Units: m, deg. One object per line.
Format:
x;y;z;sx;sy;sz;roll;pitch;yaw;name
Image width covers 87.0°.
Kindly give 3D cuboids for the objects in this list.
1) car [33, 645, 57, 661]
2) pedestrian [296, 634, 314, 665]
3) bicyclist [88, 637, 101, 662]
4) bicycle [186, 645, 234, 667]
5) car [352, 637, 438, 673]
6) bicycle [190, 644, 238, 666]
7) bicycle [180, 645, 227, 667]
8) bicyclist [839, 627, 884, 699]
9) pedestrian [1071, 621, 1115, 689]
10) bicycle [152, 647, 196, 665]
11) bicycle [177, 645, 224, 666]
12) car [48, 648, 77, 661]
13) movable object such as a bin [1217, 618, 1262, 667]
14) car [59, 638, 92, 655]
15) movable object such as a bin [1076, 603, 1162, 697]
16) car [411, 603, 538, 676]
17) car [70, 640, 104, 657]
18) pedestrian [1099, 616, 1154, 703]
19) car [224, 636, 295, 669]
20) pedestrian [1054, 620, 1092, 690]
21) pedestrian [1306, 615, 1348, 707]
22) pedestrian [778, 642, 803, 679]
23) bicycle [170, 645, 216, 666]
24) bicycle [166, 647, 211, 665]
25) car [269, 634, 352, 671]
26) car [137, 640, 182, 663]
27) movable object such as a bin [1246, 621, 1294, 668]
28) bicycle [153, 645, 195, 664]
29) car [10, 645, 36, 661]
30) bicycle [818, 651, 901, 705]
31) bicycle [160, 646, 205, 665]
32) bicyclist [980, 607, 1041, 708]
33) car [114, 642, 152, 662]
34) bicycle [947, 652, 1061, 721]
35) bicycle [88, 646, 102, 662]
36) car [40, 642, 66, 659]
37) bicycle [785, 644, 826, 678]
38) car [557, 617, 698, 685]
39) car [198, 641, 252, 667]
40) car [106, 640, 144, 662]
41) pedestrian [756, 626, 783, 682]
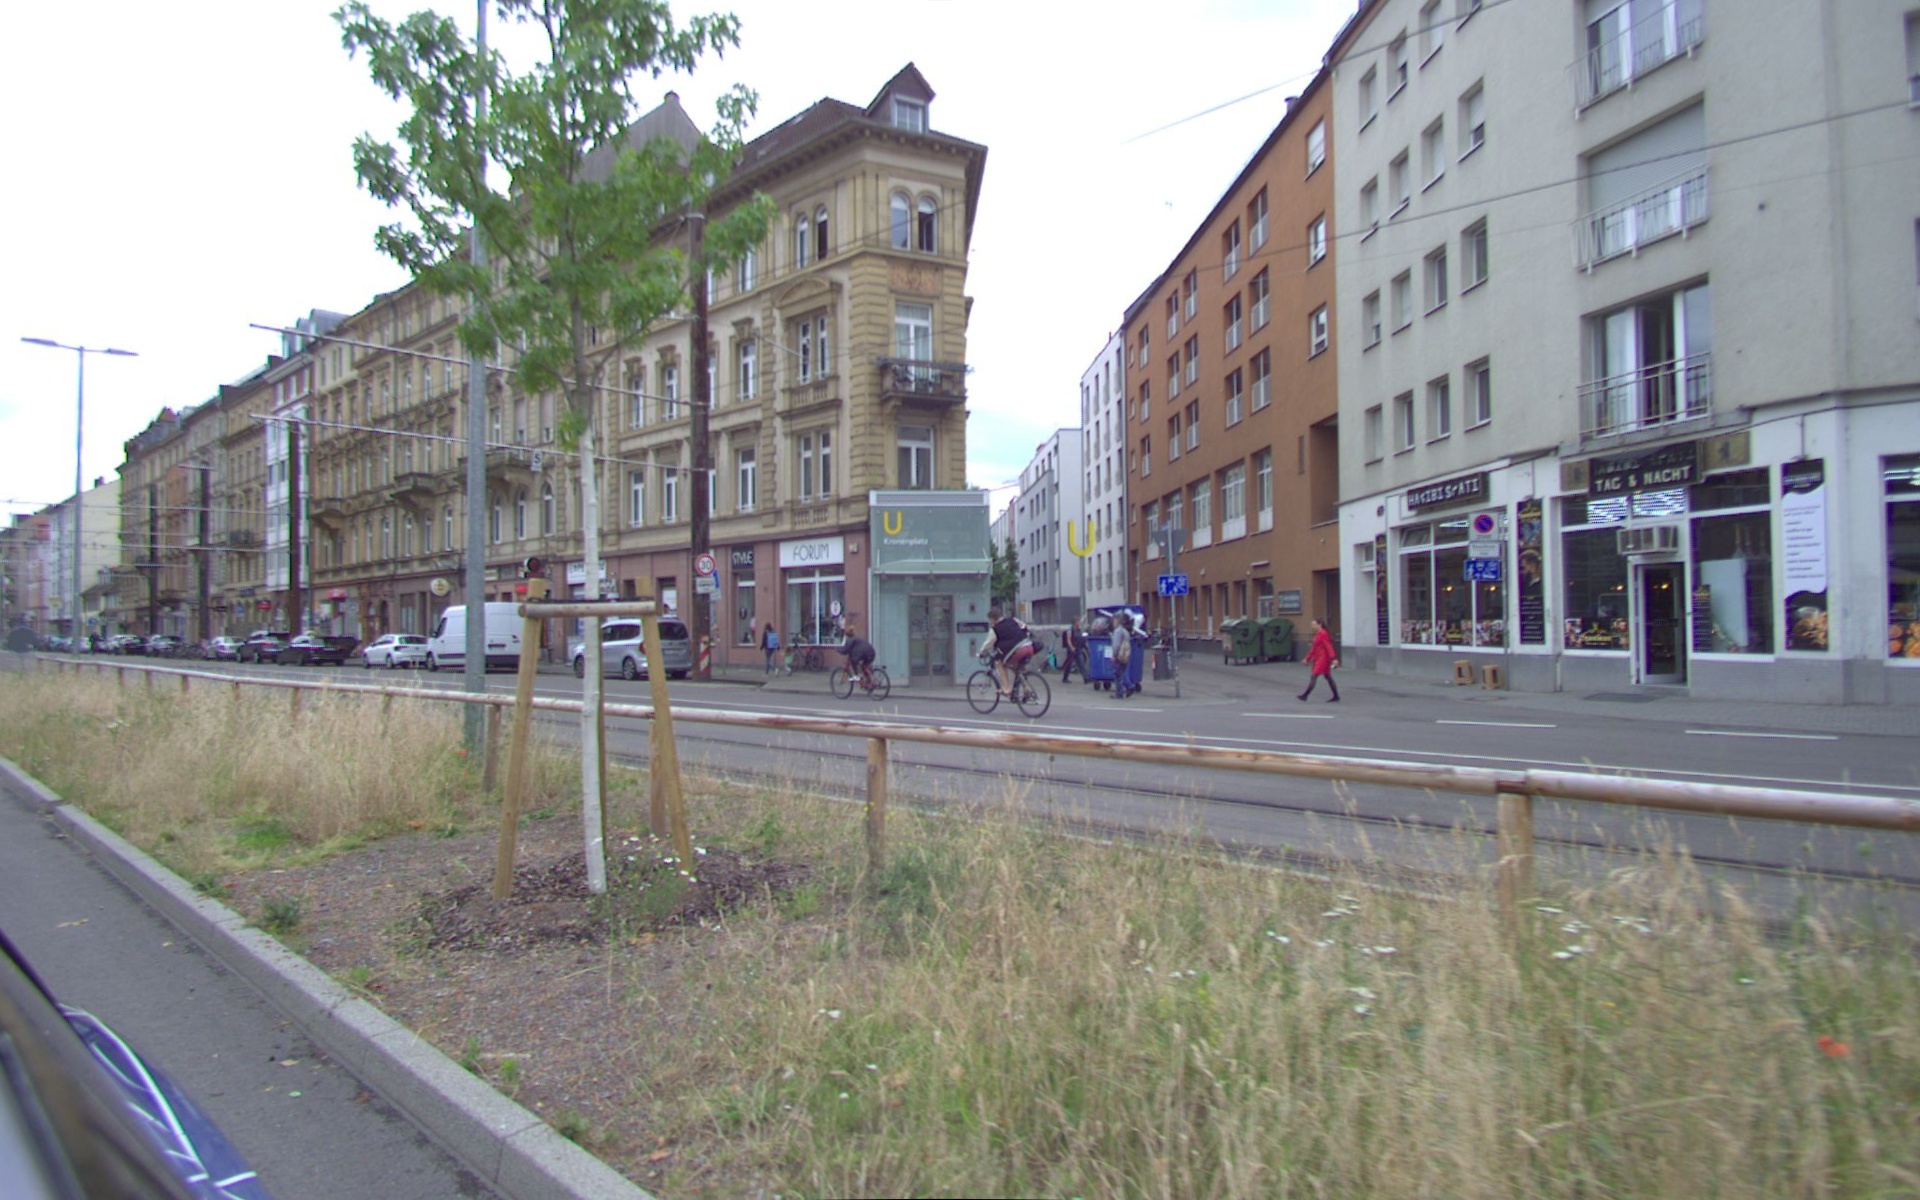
-104.027;6.030;115.018;4.180;1.684;1.682;-2;-1;43;car
-38.471;2.903;59.475;0.644;1.796;0.787;-1;-1;-12;pedestrian
-66.981;3.823;78.299;1.028;1.897;0.638;-2;-1;43;bicyclist
-46.302;3.438;62.485;0.521;1.339;2.258;-3;-4;41;bicycle
-23.722;2.320;42.445;4.161;1.434;1.753;-2;-4;40;car
-45.733;3.394;62.041;0.666;1.339;2.258;-3;-4;41;bicycle
-47.672;3.516;63.815;0.666;1.339;2.258;-3;-4;41;bicycle
-2.013;1.269;20.566;0.811;1.417;0.474;-2;-3;40;bicyclist
3.394;1.391;25.878;0.651;1.700;0.926;1;-1;-33;pedestrian
-53.475;3.788;68.855;0.704;1.212;2.258;-3;-4;41;bicycle
-48.283;3.526;64.375;0.666;1.339;2.258;-3;-4;41;bicycle
-93.097;5.660;104.981;3.432;1.391;1.631;-3;-4;38;car
8.871;1.337;32.166;0.932;1.512;1.241;-1;-1;-8;movable object such as a bin
-82.503;4.363;94.370;4.543;1.533;1.805;-3;-4;42;car
3.536;1.084;22.636;1.018;1.996;1.619;1;-1;-42;movable object such as a bin
-17.925;1.479;37.221;5.662;2.506;2.031;-2;-4;41;car
-78.971;4.361;91.508;4.044;1.476;1.725;-3;-4;41;car
3.362;1.186;20.467;0.811;1.700;0.725;1;-1;-31;pedestrian
-37.573;2.796;54.238;5.025;1.703;1.795;-3;-3;39;car
2.838;1.367;25.408;0.651;1.700;0.725;1;-1;-33;pedestrian
6.944;1.129;19.174;0.656;1.700;0.719;0;-1;14;pedestrian
-4.905;1.760;29.338;0.546;1.038;0.454;-1;-1;-40;pedestrian
-50.277;3.643;66.379;0.666;1.339;2.258;-3;-4;41;bicycle
-51.216;3.720;67.205;0.666;1.212;2.258;-3;-4;41;bicycle
-31.089;2.509;48.414;5.048;1.702;1.899;-2;-4;40;car
-56.911;3.672;71.951;4.223;1.545;1.725;-3;-4;41;car
9.886;1.410;32.277;0.995;1.416;1.241;-1;-1;-8;movable object such as a bin
-53.896;3.755;69.416;0.547;1.212;2.258;-3;-2;41;bicycle
-112.801;6.351;121.826;3.825;1.745;1.904;-2;-1;41;car
-2.064;1.568;20.599;1.910;1.029;0.474;-2;-3;40;bicycle
-52.358;3.730;68.162;0.704;1.212;2.258;-3;-4;41;bicycle
0.794;0.900;15.991;0.811;1.552;0.486;-2;-3;40;bicyclist
-64.461;4.039;78.899;3.919;1.500;1.725;-3;-4;42;car
0.675;1.342;16.052;1.911;1.029;0.471;-2;-3;40;bicycle
-67.005;4.171;78.363;2.045;1.183;0.578;-2;-4;43;bicycle
-96.738;5.425;107.886;3.920;1.770;1.684;-3;-3;43;car
-4.605;1.807;30.097;0.336;0.966;1.689;-1;-1;-41;bicycle
-9.972;1.503;30.213;4.517;1.879;1.883;-2;-4;40;car
-43.592;3.200;59.964;3.918;1.500;1.725;-3;-3;41;car
-68.029;4.152;82.468;4.044;1.685;1.725;-3;-4;41;car
-5.484;1.551;29.092;0.546;1.568;0.659;-1;-1;-31;pedestrian
